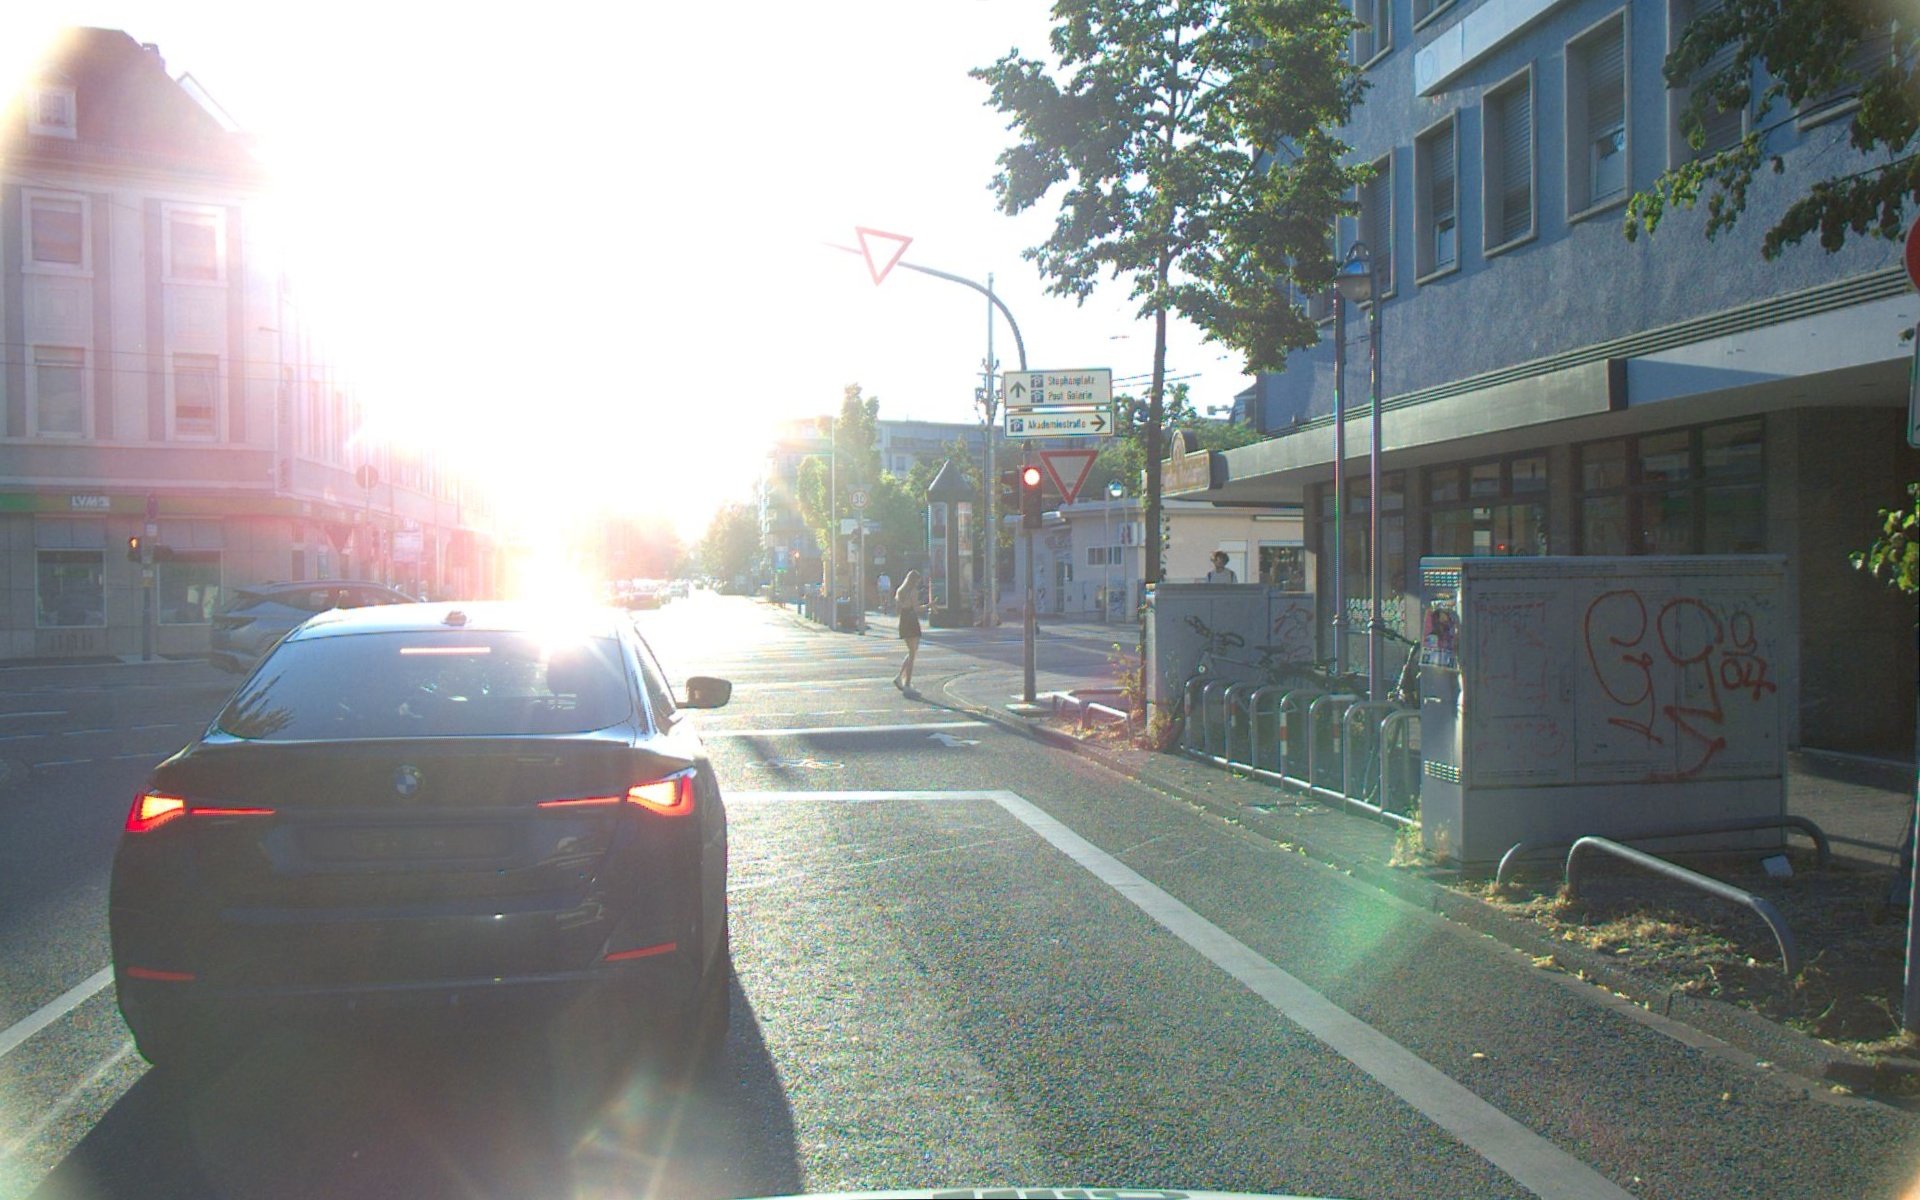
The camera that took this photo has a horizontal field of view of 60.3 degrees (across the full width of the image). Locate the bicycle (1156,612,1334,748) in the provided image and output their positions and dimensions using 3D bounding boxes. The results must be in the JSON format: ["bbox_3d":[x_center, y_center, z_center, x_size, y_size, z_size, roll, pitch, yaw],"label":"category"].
[{"bbox_3d":[2.612,0.723,15.182,1.582,1.191,0.318,-1,0,-7],"label":"bicycle"}]

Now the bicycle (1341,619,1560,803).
[{"bbox_3d":[3.405,0.767,11.501,1.413,1.241,0.383,1,0,-8],"label":"bicycle"}]

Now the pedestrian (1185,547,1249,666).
[{"bbox_3d":[4.132,0.091,26.601,0.820,1.874,0.677,-1,0,-9],"label":"pedestrian"}]

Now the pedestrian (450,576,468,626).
[{"bbox_3d":[-19.422,0.040,64.101,0.605,1.909,0.676,1,0,-13],"label":"pedestrian"}]

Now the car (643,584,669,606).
[{"bbox_3d":[-22.589,-0.370,123.018,1.784,1.545,3.992,-1,1,-9],"label":"car"}]

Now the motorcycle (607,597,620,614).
[{"bbox_3d":[-19.574,0.314,93.453,0.564,0.931,2.196,1,0,-8],"label":"motorcycle"}]

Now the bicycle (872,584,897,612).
[{"bbox_3d":[-3.266,-0.092,71.357,0.541,1.179,2.134,1,0,-17],"label":"bicycle"}]

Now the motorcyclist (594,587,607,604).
[{"bbox_3d":[-20.378,-0.276,93.845,0.564,0.931,2.196,1,0,-8],"label":"motorcyclist"}]

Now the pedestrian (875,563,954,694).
[{"bbox_3d":[-0.671,0.407,24.307,0.990,1.893,0.634,0,0,-29],"label":"pedestrian"}]

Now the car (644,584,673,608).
[{"bbox_3d":[-20.527,-0.280,112.688,1.784,1.545,3.992,-1,1,-9],"label":"car"}]

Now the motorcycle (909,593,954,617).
[{"bbox_3d":[-1.176,0.191,67.912,1.644,0.955,0.851,-1,1,-20],"label":"motorcycle"}]

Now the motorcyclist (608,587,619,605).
[{"bbox_3d":[-19.545,-0.226,93.355,0.564,1.013,0.701,1,0,-9],"label":"motorcyclist"}]

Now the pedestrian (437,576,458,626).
[{"bbox_3d":[-19.534,0.043,63.015,0.631,1.909,0.630,1,0,-9],"label":"pedestrian"}]

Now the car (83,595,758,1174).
[{"bbox_3d":[-1.748,0.724,6.453,1.705,1.453,4.214,0,0,-10],"label":"car"}]

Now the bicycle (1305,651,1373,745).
[{"bbox_3d":[3.525,0.899,15.435,0.244,0.810,1.114,1,0,-7],"label":"bicycle"}]

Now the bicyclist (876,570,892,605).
[{"bbox_3d":[-3.294,-0.533,71.468,0.541,1.507,0.719,1,0,-17],"label":"bicyclist"}]

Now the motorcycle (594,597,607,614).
[{"bbox_3d":[-20.384,0.298,93.832,0.564,0.931,2.196,1,0,-8],"label":"motorcycle"}]

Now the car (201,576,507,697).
[{"bbox_3d":[-9.516,0.507,26.086,4.242,1.737,1.784,-1,1,-35],"label":"car"}]

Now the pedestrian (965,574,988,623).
[{"bbox_3d":[0.540,-0.060,53.257,0.717,1.555,0.473,1,0,3],"label":"pedestrian"}]

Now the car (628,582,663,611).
[{"bbox_3d":[-17.941,-0.211,94.379,1.784,1.545,3.992,-1,1,-9],"label":"car"}]

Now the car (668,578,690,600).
[{"bbox_3d":[-25.307,-0.981,149.023,1.738,1.881,3.994,-1,1,-7],"label":"car"}]
